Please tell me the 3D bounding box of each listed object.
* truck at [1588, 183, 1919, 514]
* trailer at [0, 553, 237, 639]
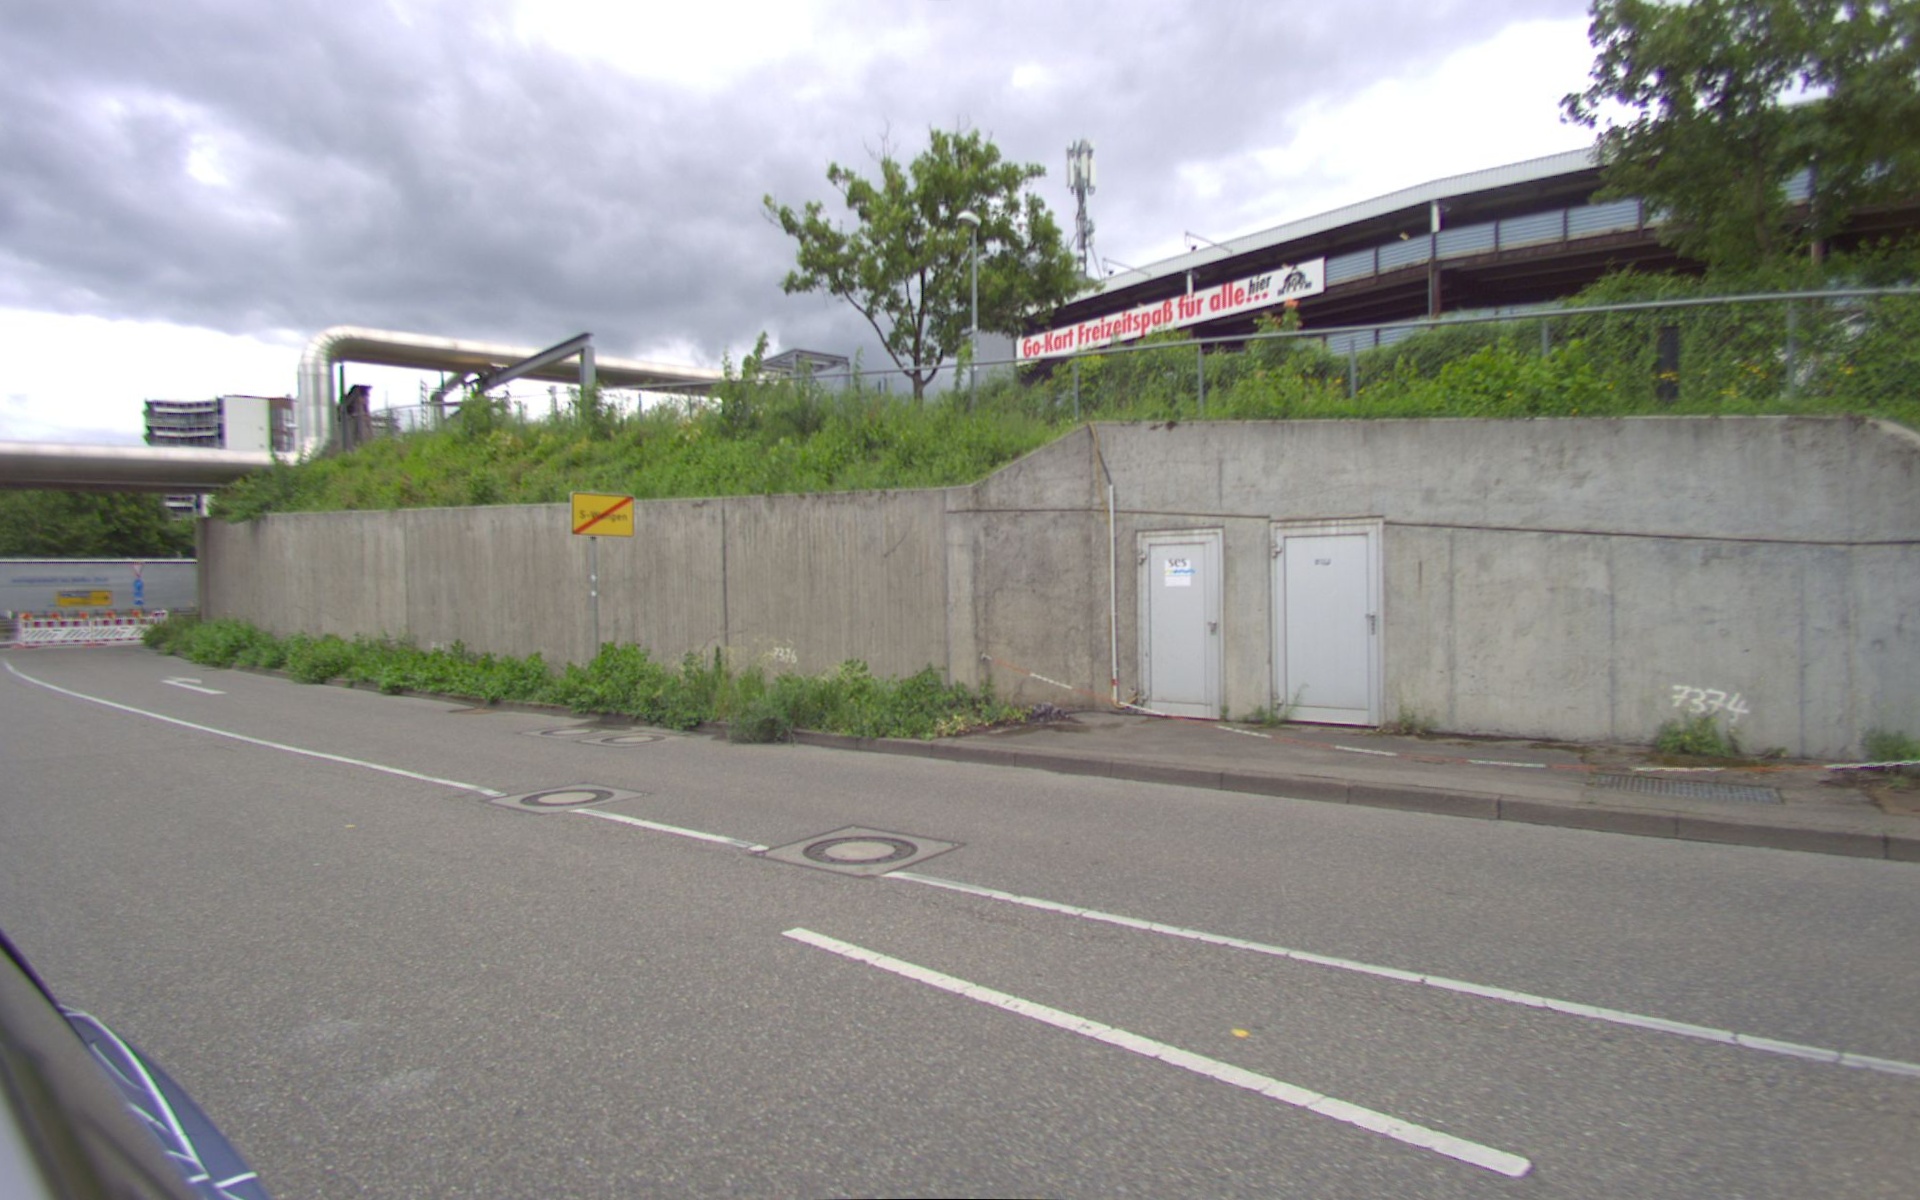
[{"bbox_3d":[13.514,-3.360,15.869,3.015,3.564,7.853,1,2,6],"label":"truck"},{"bbox_3d":[-47.541,-0.345,54.927,3.167,4.356,13.074,2,3,44],"label":"trailer"}]
